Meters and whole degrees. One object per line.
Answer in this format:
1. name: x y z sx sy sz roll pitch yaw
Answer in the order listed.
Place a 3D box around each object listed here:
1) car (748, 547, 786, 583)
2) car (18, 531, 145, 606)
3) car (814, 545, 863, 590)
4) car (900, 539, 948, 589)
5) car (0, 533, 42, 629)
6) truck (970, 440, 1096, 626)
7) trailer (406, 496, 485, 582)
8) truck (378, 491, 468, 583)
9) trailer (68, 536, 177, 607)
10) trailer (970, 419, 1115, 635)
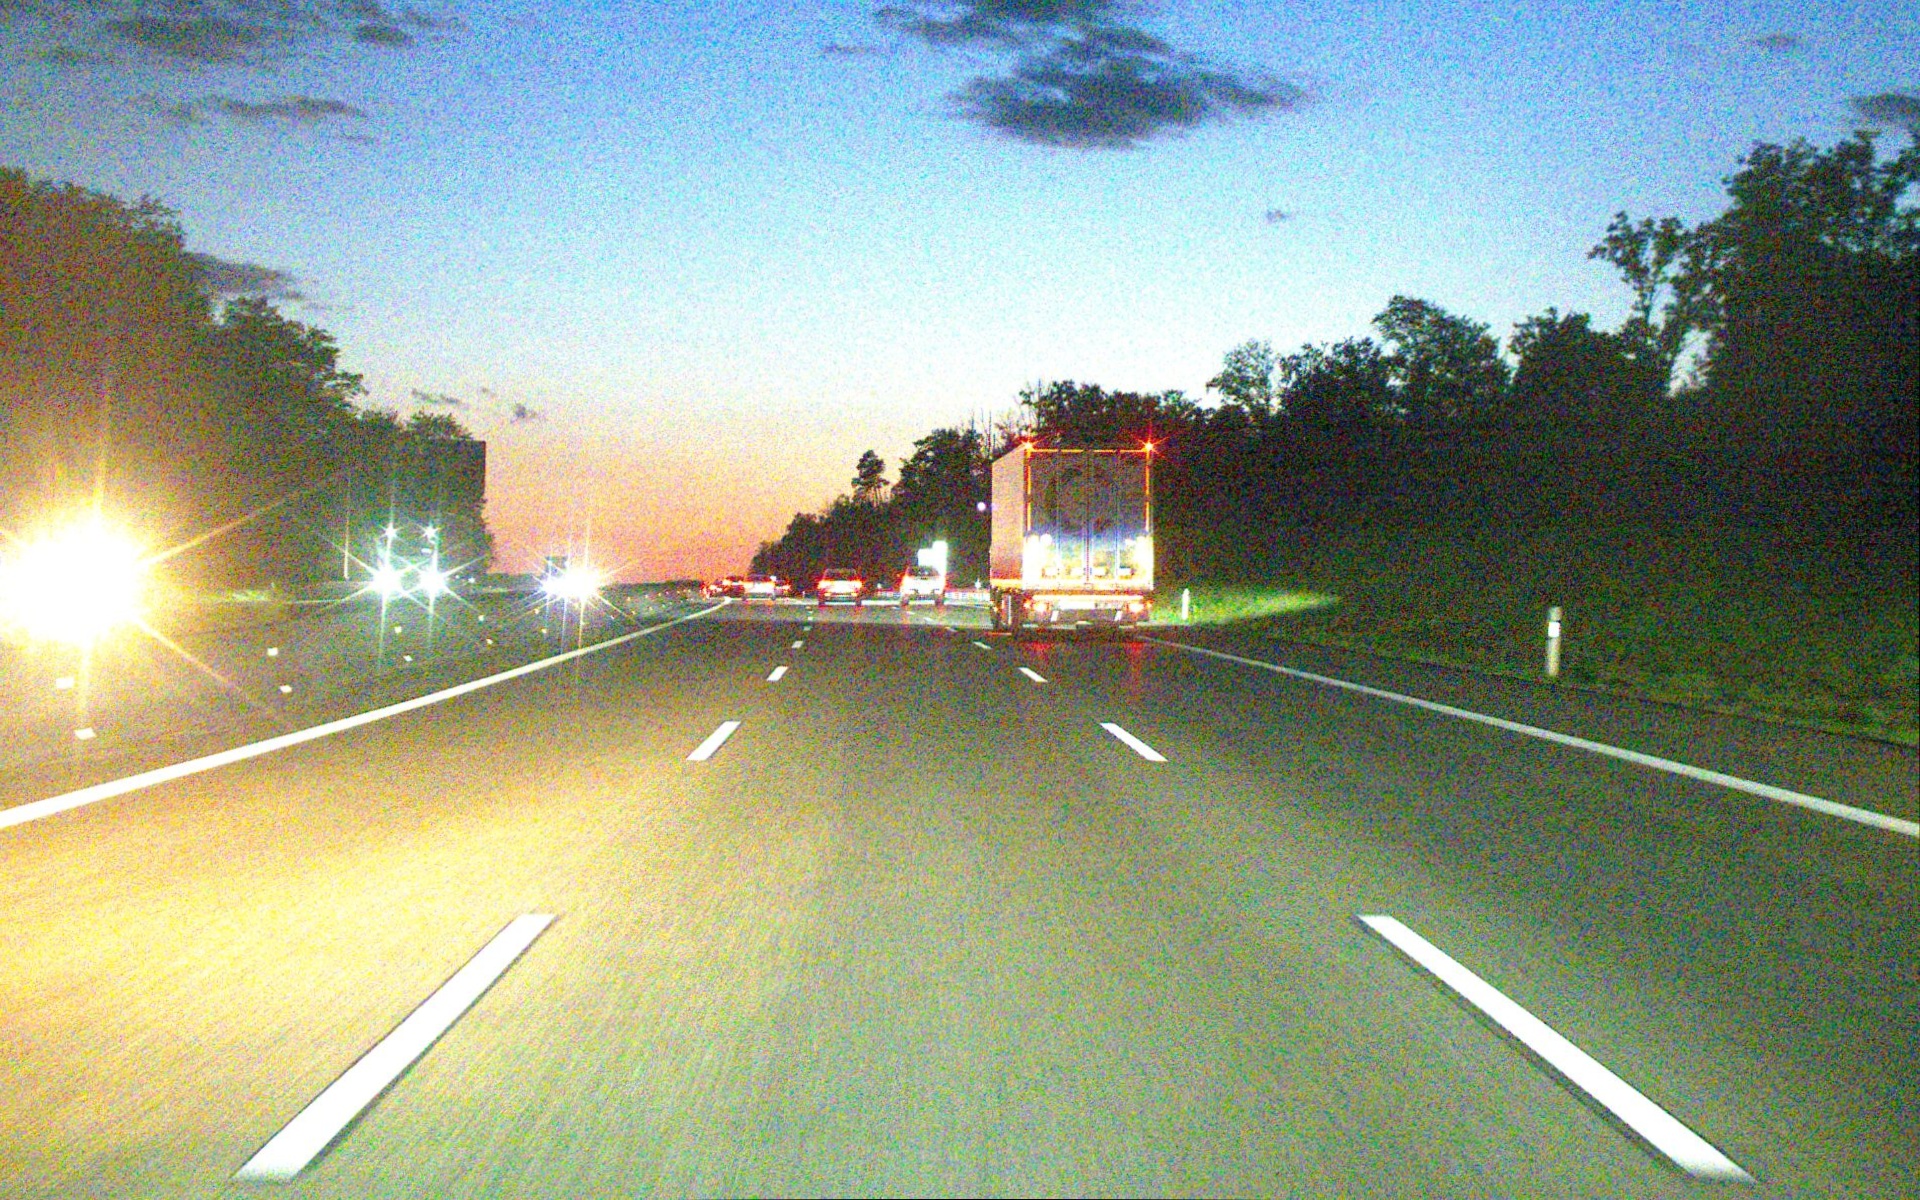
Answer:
1. car: -10.419 -1.880 185.838 1.993 1.788 4.000 1 -1 -3
2. car: -21.182 -0.771 83.081 1.913 1.741 4.882 1 1 -1
3. car: -5.138 -1.358 145.417 1.993 1.788 4.000 1 -1 -1
4. car: -1.627 -1.607 154.239 1.993 2.110 4.000 1 -1 -3
5. car: -16.993 -0.338 57.343 2.244 1.592 4.888 1 1 -2
6. truck: 1.692 -1.564 81.928 2.829 4.242 6.263 1 0 0
7. trailer: -25.051 -2.942 167.697 2.860 4.057 8.872 1 0 -3
8. truck: -24.603 -2.836 157.933 2.860 4.057 10.636 1 1 -3
9. trailer: -21.279 -0.724 87.442 1.896 1.741 3.845 1 1 -1
10. trailer: 1.675 -1.516 76.558 2.829 4.242 17.049 1 0 0
